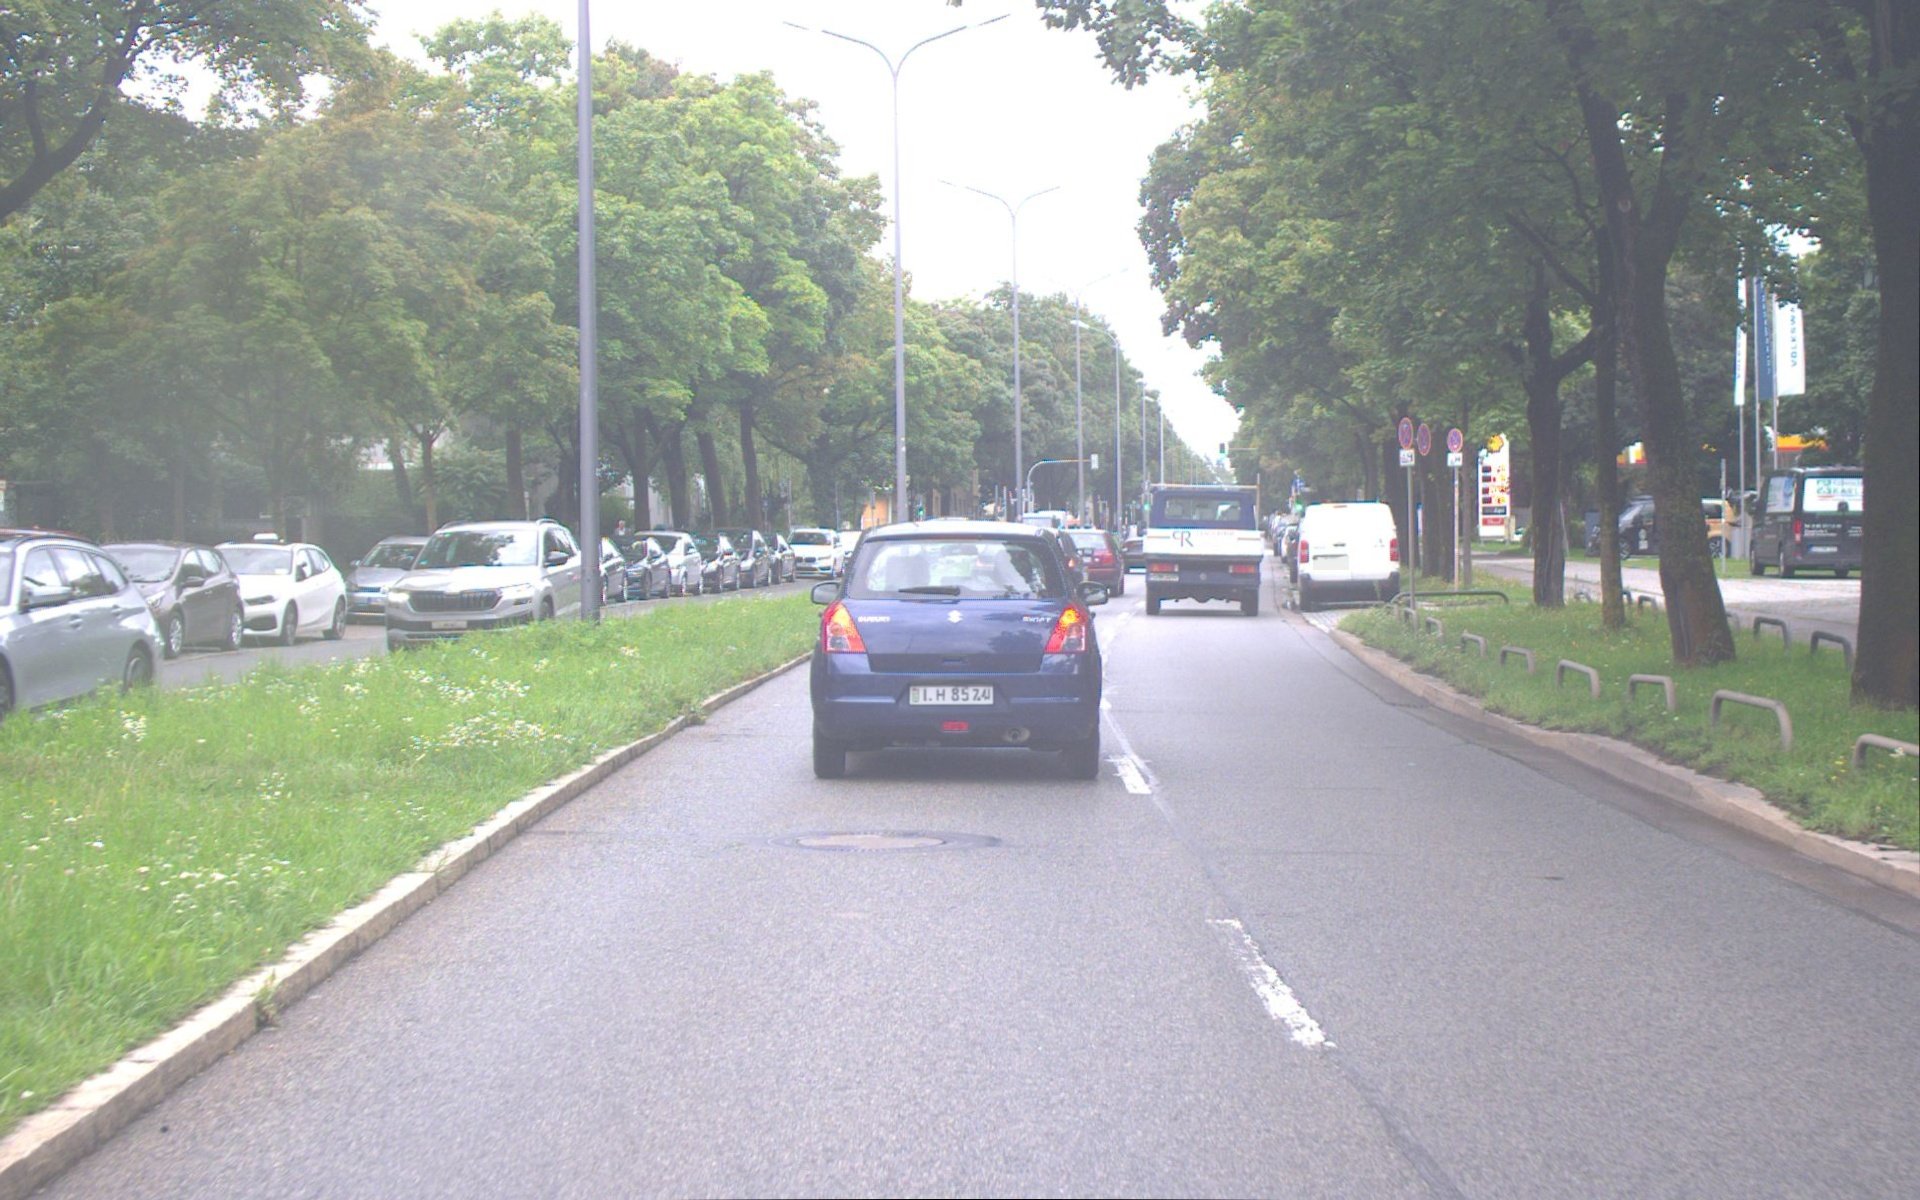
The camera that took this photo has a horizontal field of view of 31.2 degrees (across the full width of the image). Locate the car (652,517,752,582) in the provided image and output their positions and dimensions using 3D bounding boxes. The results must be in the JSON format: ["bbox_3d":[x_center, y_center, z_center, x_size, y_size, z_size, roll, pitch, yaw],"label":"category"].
[{"bbox_3d":[-6.521,-1.314,87.308,1.716,1.519,5.034,2,2,4],"label":"car"}]

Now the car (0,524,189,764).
[{"bbox_3d":[-6.813,0.255,22.974,1.915,1.479,4.864,-1,1,4],"label":"car"}]

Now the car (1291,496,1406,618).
[{"bbox_3d":[7.239,-0.839,64.406,1.987,2.150,5.554,-1,1,5],"label":"car"}]

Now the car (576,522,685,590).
[{"bbox_3d":[-7.413,-1.009,77.668,1.626,1.418,4.191,2,2,6],"label":"car"}]

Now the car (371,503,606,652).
[{"bbox_3d":[-5.451,-0.306,40.265,1.766,1.619,4.376,-1,1,5],"label":"car"}]

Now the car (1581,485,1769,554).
[{"bbox_3d":[22.219,-2.492,107.005,5.471,2.076,2.147,0,1,5],"label":"car"}]

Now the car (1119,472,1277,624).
[{"bbox_3d":[4.095,-0.909,58.447,2.419,2.435,5.085,1,1,7],"label":"car"}]

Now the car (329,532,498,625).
[{"bbox_3d":[-9.309,-0.402,58.897,1.736,1.443,4.822,2,2,4],"label":"car"}]

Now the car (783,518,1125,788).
[{"bbox_3d":[0.032,0.250,20.956,1.896,1.494,3.660,0,1,2],"label":"car"}]

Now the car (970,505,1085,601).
[{"bbox_3d":[1.140,-0.798,56.471,1.799,1.494,3.660,-1,1,2],"label":"car"}]

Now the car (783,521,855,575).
[{"bbox_3d":[-4.476,-1.677,109.486,1.757,1.589,4.489,2,2,4],"label":"car"}]

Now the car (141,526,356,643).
[{"bbox_3d":[-10.026,-0.260,48.742,1.739,1.524,4.475,1,2,5],"label":"car"}]

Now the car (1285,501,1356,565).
[{"bbox_3d":[9.865,-1.847,93.784,1.813,1.670,4.799,-1,1,7],"label":"car"}]

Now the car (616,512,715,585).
[{"bbox_3d":[-7.012,-1.256,82.120,1.626,1.642,3.867,2,2,6],"label":"car"}]

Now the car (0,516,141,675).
[{"bbox_3d":[-10.898,-0.109,39.202,1.739,1.646,4.606,2,2,3],"label":"car"}]

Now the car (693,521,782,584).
[{"bbox_3d":[-5.991,-1.301,92.875,1.686,1.591,4.209,2,2,6],"label":"car"}]

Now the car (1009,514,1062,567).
[{"bbox_3d":[3.030,-2.375,136.627,1.781,2.022,4.818,-1,1,5],"label":"car"}]

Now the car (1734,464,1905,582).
[{"bbox_3d":[17.693,-1.599,71.101,2.265,2.299,6.268,-1,1,3],"label":"car"}]

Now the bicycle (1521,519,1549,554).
[{"bbox_3d":[19.674,-2.164,117.662,0.748,1.179,2.246,-1,1,5],"label":"bicycle"}]

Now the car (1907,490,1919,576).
[{"bbox_3d":[21.102,-1.412,71.370,1.842,1.812,4.472,-1,1,3],"label":"car"}]

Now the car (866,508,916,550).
[{"bbox_3d":[-2.653,-2.750,132.387,1.691,1.560,3.079,-1,1,3],"label":"car"}]

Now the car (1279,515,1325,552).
[{"bbox_3d":[14.126,-2.761,142.045,1.761,1.449,4.632,-2,1,5],"label":"car"}]

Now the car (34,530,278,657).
[{"bbox_3d":[-10.258,-0.119,44.179,1.739,1.477,4.333,2,2,5],"label":"car"}]

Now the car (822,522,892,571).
[{"bbox_3d":[-3.572,-1.886,119.502,1.832,1.604,4.490,2,2,6],"label":"car"}]

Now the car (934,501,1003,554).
[{"bbox_3d":[0.295,-2.319,109.493,1.834,1.637,4.350,-1,1,5],"label":"car"}]

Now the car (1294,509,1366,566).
[{"bbox_3d":[9.537,-1.622,88.446,1.702,1.403,4.511,-1,1,8],"label":"car"}]

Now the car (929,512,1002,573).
[{"bbox_3d":[0.230,-2.183,129.520,2.209,2.186,5.799,-2,1,5],"label":"car"}]
